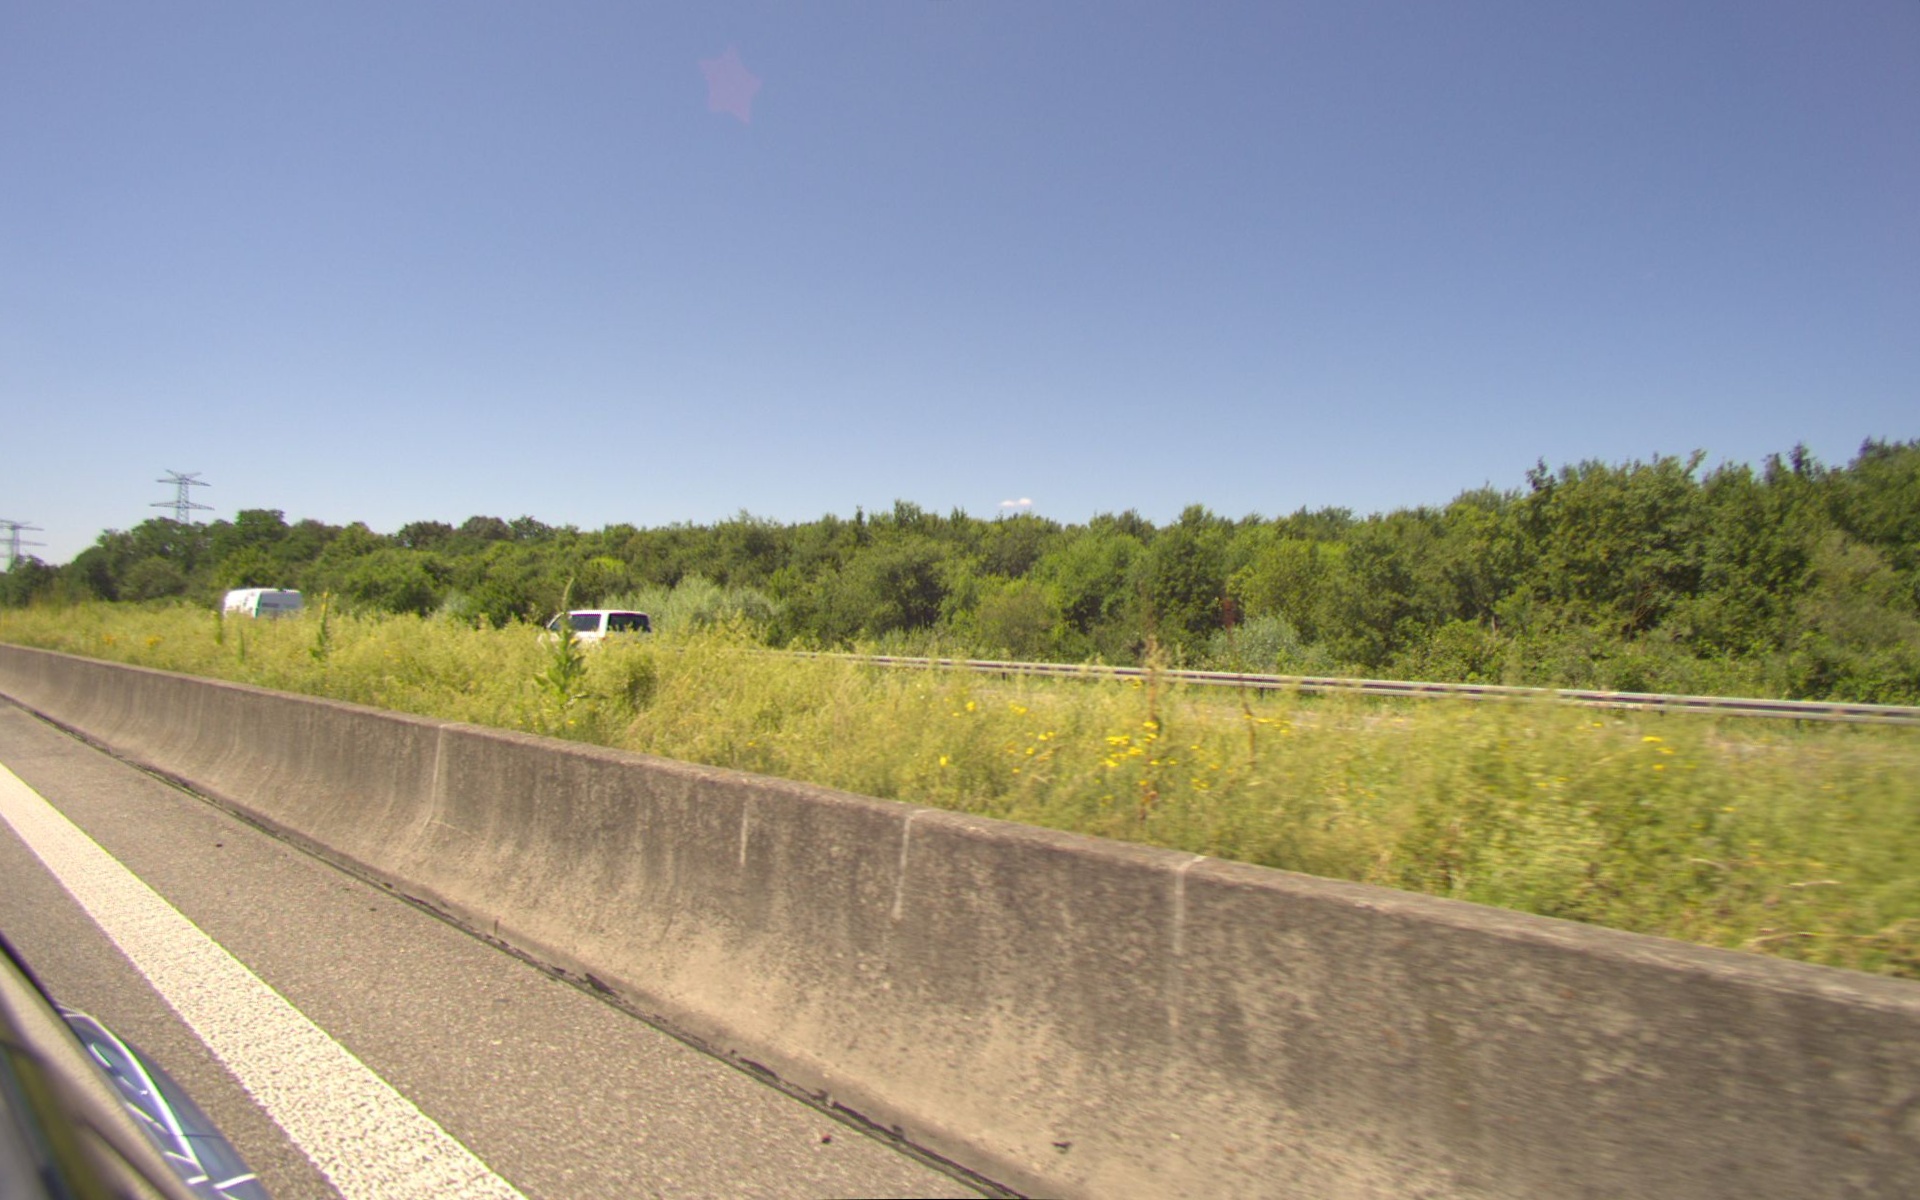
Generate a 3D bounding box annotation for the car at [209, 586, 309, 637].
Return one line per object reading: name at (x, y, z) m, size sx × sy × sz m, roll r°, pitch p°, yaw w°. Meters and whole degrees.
car at (-30.549, 0.487, 44.006) m, size 6.553 × 2.029 × 1.973 m, roll 0°, pitch 1°, yaw 41°

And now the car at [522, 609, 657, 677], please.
car at (-11.973, 1.300, 32.527) m, size 5.072 × 2.029 × 1.862 m, roll 0°, pitch -1°, yaw 41°
